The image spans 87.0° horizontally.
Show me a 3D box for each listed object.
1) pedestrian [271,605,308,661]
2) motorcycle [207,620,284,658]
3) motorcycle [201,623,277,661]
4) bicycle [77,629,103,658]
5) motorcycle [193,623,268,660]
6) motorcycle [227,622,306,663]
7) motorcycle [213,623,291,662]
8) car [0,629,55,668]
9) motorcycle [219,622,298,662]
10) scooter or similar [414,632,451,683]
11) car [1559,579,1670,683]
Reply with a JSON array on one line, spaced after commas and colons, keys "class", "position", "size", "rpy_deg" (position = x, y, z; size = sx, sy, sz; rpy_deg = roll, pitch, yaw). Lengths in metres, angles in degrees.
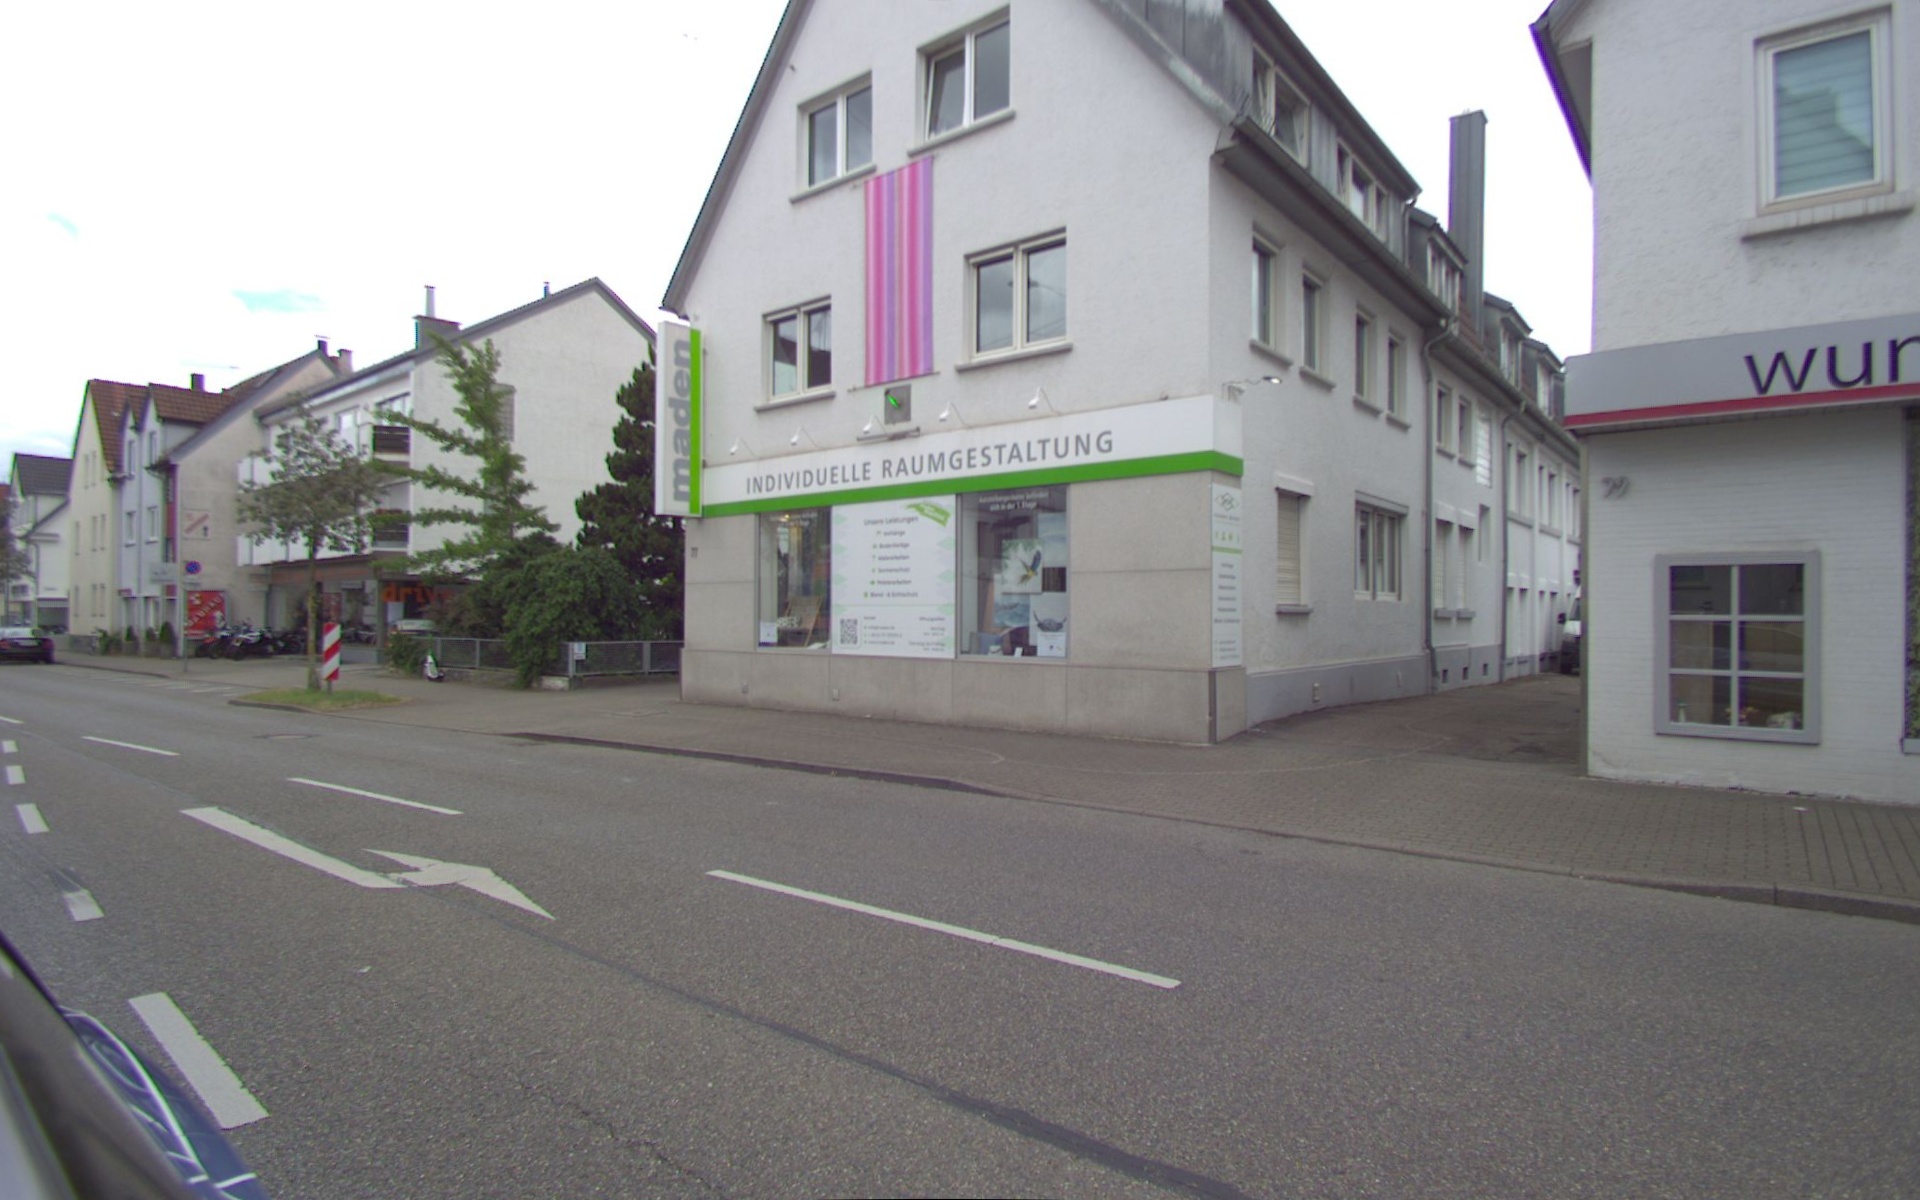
[{"class": "pedestrian", "position": [-23.153, 1.121, 34.945], "size": [1.019, 1.863, 0.744], "rpy_deg": [-1, 2, 40]}, {"class": "motorcycle", "position": [-26.260, 1.414, 37.226], "size": [0.698, 1.275, 2.204], "rpy_deg": [-1, 1, 38]}, {"class": "motorcycle", "position": [-26.862, 1.535, 37.731], "size": [0.612, 1.275, 2.204], "rpy_deg": [-1, 1, 38]}, {"class": "bicycle", "position": [-37.680, 1.881, 43.819], "size": [2.022, 1.205, 0.509], "rpy_deg": [-1, -1, 39]}, {"class": "motorcycle", "position": [-27.489, 1.546, 38.176], "size": [0.612, 1.275, 2.204], "rpy_deg": [-1, 1, 38]}, {"class": "motorcycle", "position": [-24.373, 1.474, 35.611], "size": [0.612, 1.275, 2.204], "rpy_deg": [-1, 1, 38]}, {"class": "motorcycle", "position": [-25.656, 1.512, 36.707], "size": [0.612, 1.275, 2.204], "rpy_deg": [-1, 1, 38]}, {"class": "car", "position": [-36.270, 1.816, 38.741], "size": [4.337, 1.428, 1.770], "rpy_deg": [-1, -2, 39]}, {"class": "motorcycle", "position": [-25.049, 1.473, 36.175], "size": [0.612, 1.275, 2.204], "rpy_deg": [-1, 1, 38]}, {"class": "scooter or similar", "position": [-12.014, 1.306, 23.048], "size": [1.179, 1.120, 0.336], "rpy_deg": [-1, -1, 41]}, {"class": "car", "position": [18.145, 0.743, 27.921], "size": [1.957, 2.527, 5.918], "rpy_deg": [2, 1, 38]}]
